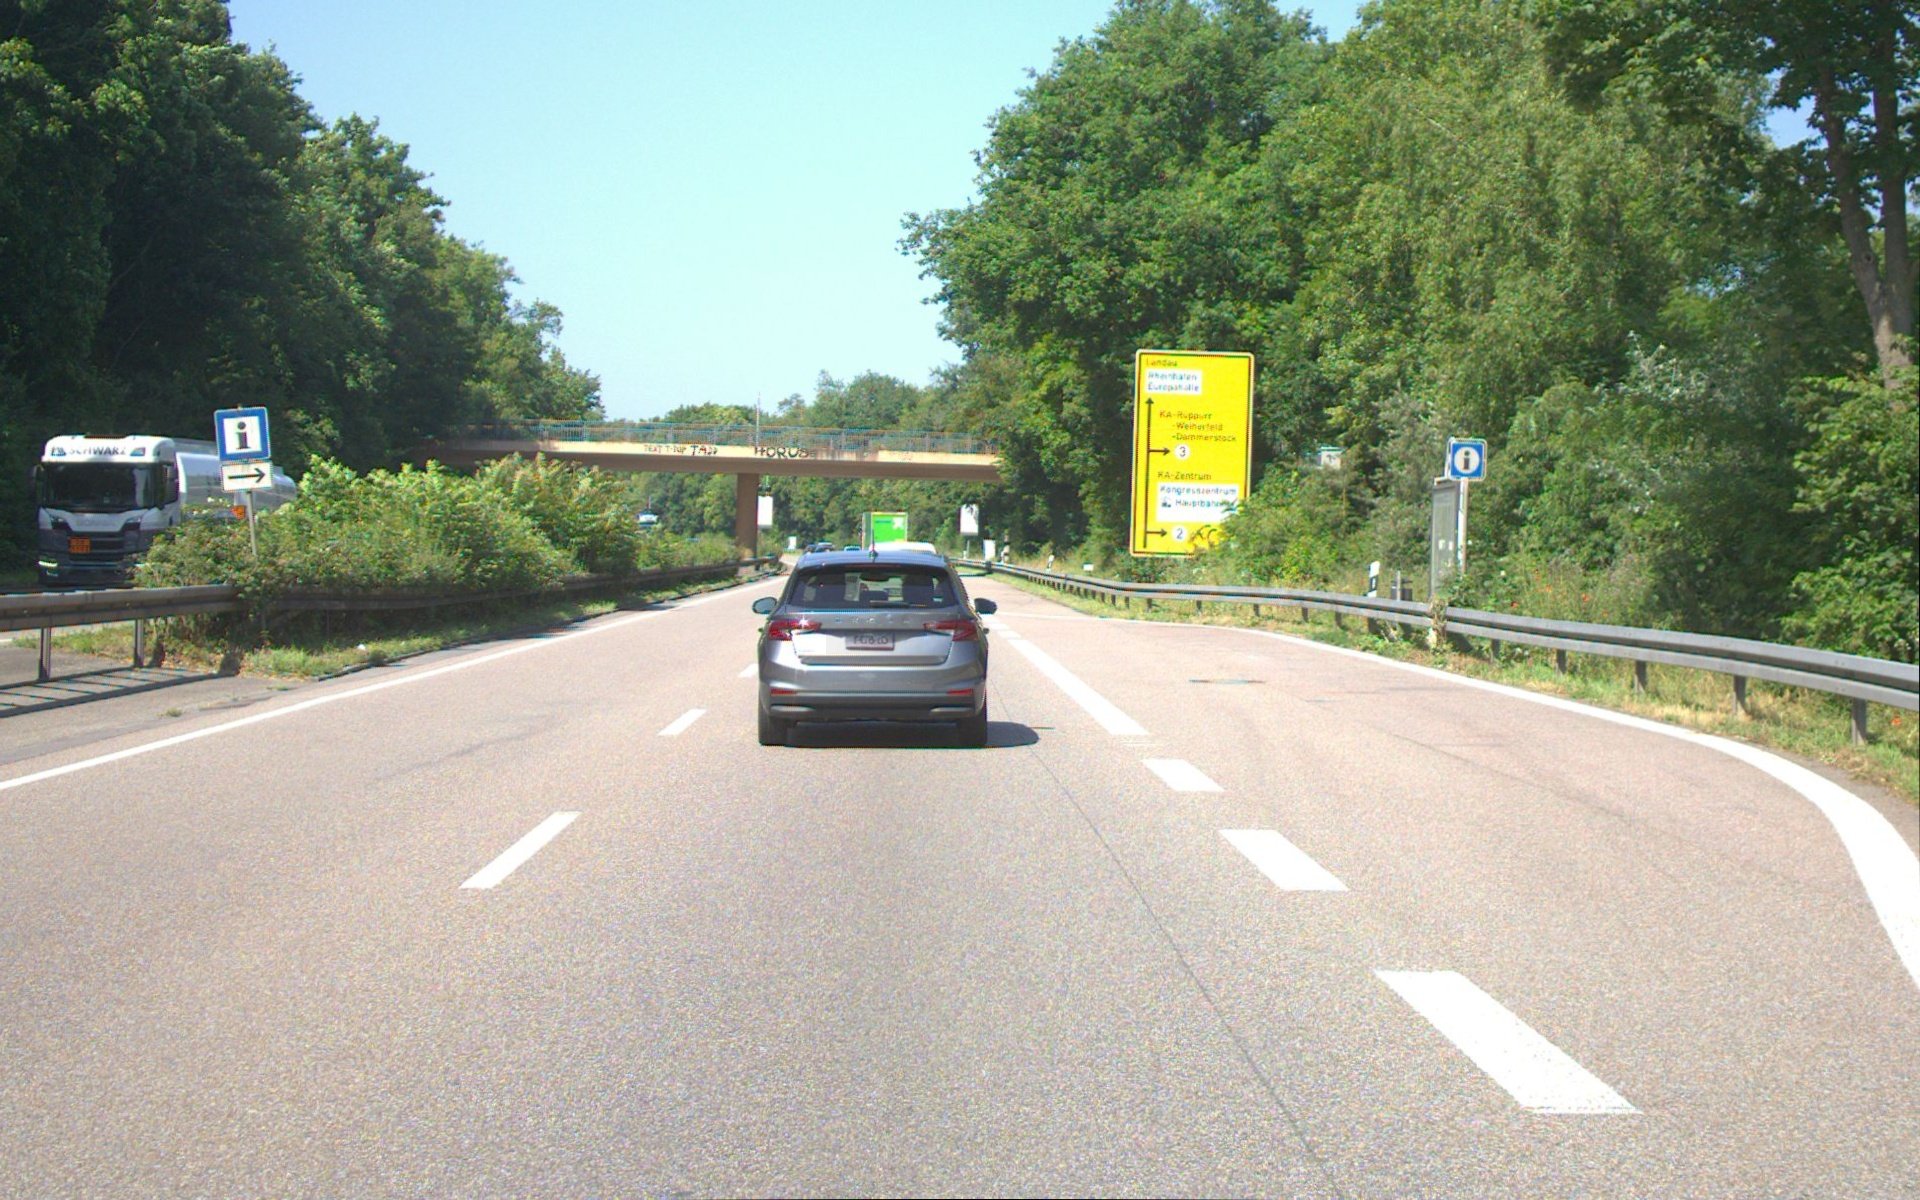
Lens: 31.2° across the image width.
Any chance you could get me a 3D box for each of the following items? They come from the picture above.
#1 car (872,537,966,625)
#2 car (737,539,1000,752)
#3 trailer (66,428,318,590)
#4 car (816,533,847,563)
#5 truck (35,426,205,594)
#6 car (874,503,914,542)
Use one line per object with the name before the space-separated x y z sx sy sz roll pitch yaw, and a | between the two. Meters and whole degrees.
car | -0.688 -0.345 59.257 1.522 1.442 3.340 1 1 1
car | -0.630 0.295 26.278 1.840 1.467 3.623 1 1 1
trailer | -16.859 -1.947 76.630 2.492 3.224 14.432 1 1 -1
car | -8.789 -3.576 234.958 1.993 2.007 4.000 1 1 -1
truck | -16.778 -1.779 68.852 2.425 3.247 4.000 1 1 -1
car | -4.610 -5.416 240.863 2.748 2.645 4.000 1 1 -1
